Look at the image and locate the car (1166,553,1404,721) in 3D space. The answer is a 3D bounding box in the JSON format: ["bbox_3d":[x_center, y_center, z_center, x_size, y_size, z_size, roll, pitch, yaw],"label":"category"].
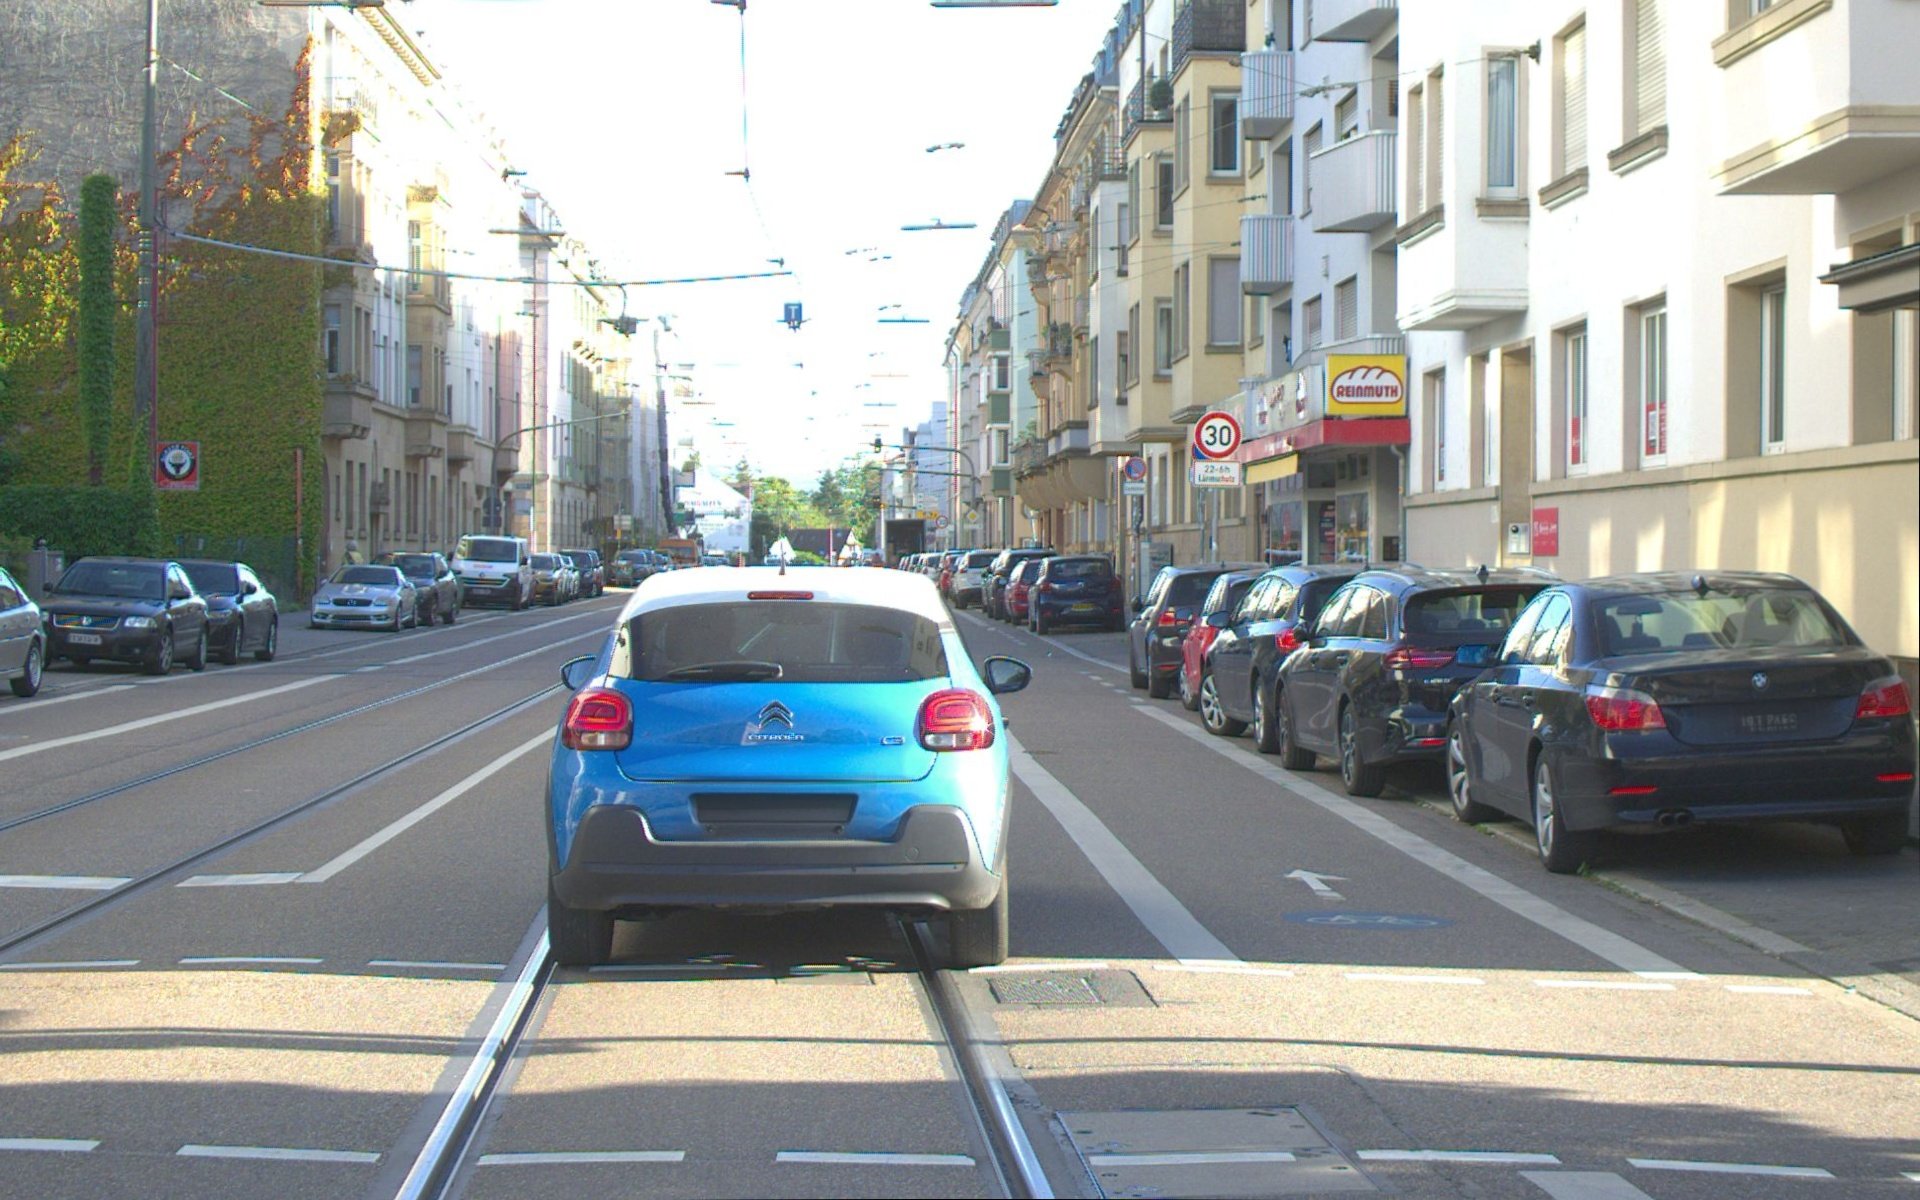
[{"bbox_3d":[3.118,0.314,33.691,1.857,1.468,3.989,-2,1,-1],"label":"car"}]

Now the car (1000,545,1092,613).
[{"bbox_3d":[1.866,-0.478,75.877,1.859,1.450,4.710,0,1,-1],"label":"car"}]

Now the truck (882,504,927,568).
[{"bbox_3d":[-3.586,-4.130,224.739,2.853,4.069,11.271,0,1,-1],"label":"truck"}]

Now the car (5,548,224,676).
[{"bbox_3d":[-10.698,0.109,43.809,1.783,1.476,4.700,2,1,-2],"label":"car"}]

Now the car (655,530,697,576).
[{"bbox_3d":[-15.561,-2.586,188.809,2.144,2.467,4.981,2,1,-4],"label":"car"}]

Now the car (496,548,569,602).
[{"bbox_3d":[-12.706,-0.763,102.304,1.783,1.518,4.360,2,1,-3],"label":"car"}]

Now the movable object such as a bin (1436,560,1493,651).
[{"bbox_3d":[5.936,0.058,40.467,0.558,1.053,0.554,1,1,-3],"label":"movable object such as a bin"}]

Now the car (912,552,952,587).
[{"bbox_3d":[-1.299,-1.420,159.427,1.783,1.570,4.326,0,1,-2],"label":"car"}]

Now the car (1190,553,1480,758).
[{"bbox_3d":[3.020,0.401,28.480,1.857,1.502,4.096,-2,1,-1],"label":"car"}]

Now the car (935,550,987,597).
[{"bbox_3d":[0.020,-0.942,120.411,1.753,1.589,3.730,0,1,-1],"label":"car"}]

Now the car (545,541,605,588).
[{"bbox_3d":[-13.300,-1.231,118.776,1.783,1.547,3.019,2,1,-2],"label":"car"}]

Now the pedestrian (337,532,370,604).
[{"bbox_3d":[-14.460,-0.765,82.005,0.679,1.718,0.616,1,1,-2],"label":"pedestrian"}]

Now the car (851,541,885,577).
[{"bbox_3d":[-5.031,-2.235,187.769,1.820,1.888,4.000,1,1,-2],"label":"car"}]

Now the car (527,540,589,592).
[{"bbox_3d":[-13.256,-1.146,113.529,1.783,1.616,4.180,2,1,-4],"label":"car"}]

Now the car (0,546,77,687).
[{"bbox_3d":[-10.534,0.137,35.342,1.783,1.393,4.445,2,1,-1],"label":"car"}]

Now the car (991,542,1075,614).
[{"bbox_3d":[1.721,-0.545,82.352,1.859,1.660,4.562,0,1,-1],"label":"car"}]

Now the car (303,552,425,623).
[{"bbox_3d":[-11.854,-0.279,68.618,1.783,1.309,4.221,2,1,-2],"label":"car"}]

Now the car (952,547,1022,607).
[{"bbox_3d":[0.759,-0.679,98.954,1.843,1.685,4.505,0,1,-2],"label":"car"}]

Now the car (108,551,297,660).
[{"bbox_3d":[-10.985,0.041,50.160,1.783,1.441,4.842,2,1,-2],"label":"car"}]

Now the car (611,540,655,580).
[{"bbox_3d":[-14.610,-1.789,153.914,1.783,1.684,4.668,2,1,-4],"label":"car"}]

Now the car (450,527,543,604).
[{"bbox_3d":[-12.436,-0.936,92.515,1.972,1.942,5.252,2,1,-3],"label":"car"}]

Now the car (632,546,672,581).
[{"bbox_3d":[-14.752,-1.759,164.868,1.783,1.621,4.610,2,1,-4],"label":"car"}]

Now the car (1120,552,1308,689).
[{"bbox_3d":[2.822,0.193,39.002,1.710,1.402,4.358,-2,1,-1],"label":"car"}]

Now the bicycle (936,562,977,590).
[{"bbox_3d":[-0.138,-1.055,150.814,1.722,1.150,0.469,-3,1,-1],"label":"bicycle"}]

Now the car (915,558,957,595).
[{"bbox_3d":[-1.098,-1.068,154.059,1.783,1.626,4.000,0,1,-2],"label":"car"}]

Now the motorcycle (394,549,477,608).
[{"bbox_3d":[-12.329,-0.503,80.893,0.885,1.346,1.954,1,1,31],"label":"motorcycle"}]

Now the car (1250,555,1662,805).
[{"bbox_3d":[3.327,0.478,23.959,1.857,1.502,4.507,-2,1,-4],"label":"car"}]

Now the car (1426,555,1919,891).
[{"bbox_3d":[3.776,0.542,18.557,1.748,1.502,4.919,-2,1,-1],"label":"car"}]

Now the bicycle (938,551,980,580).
[{"bbox_3d":[-0.035,-1.492,147.987,1.722,1.150,0.469,-3,1,-1],"label":"bicycle"}]

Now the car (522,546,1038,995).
[{"bbox_3d":[-0.682,0.566,13.929,1.735,1.502,3.993,2,1,-2],"label":"car"}]

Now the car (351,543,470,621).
[{"bbox_3d":[-11.830,-0.405,74.247,1.783,1.560,4.610,2,1,0],"label":"car"}]

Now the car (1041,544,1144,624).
[{"bbox_3d":[2.561,-0.332,67.313,1.718,1.486,4.002,-1,1,-2],"label":"car"}]
